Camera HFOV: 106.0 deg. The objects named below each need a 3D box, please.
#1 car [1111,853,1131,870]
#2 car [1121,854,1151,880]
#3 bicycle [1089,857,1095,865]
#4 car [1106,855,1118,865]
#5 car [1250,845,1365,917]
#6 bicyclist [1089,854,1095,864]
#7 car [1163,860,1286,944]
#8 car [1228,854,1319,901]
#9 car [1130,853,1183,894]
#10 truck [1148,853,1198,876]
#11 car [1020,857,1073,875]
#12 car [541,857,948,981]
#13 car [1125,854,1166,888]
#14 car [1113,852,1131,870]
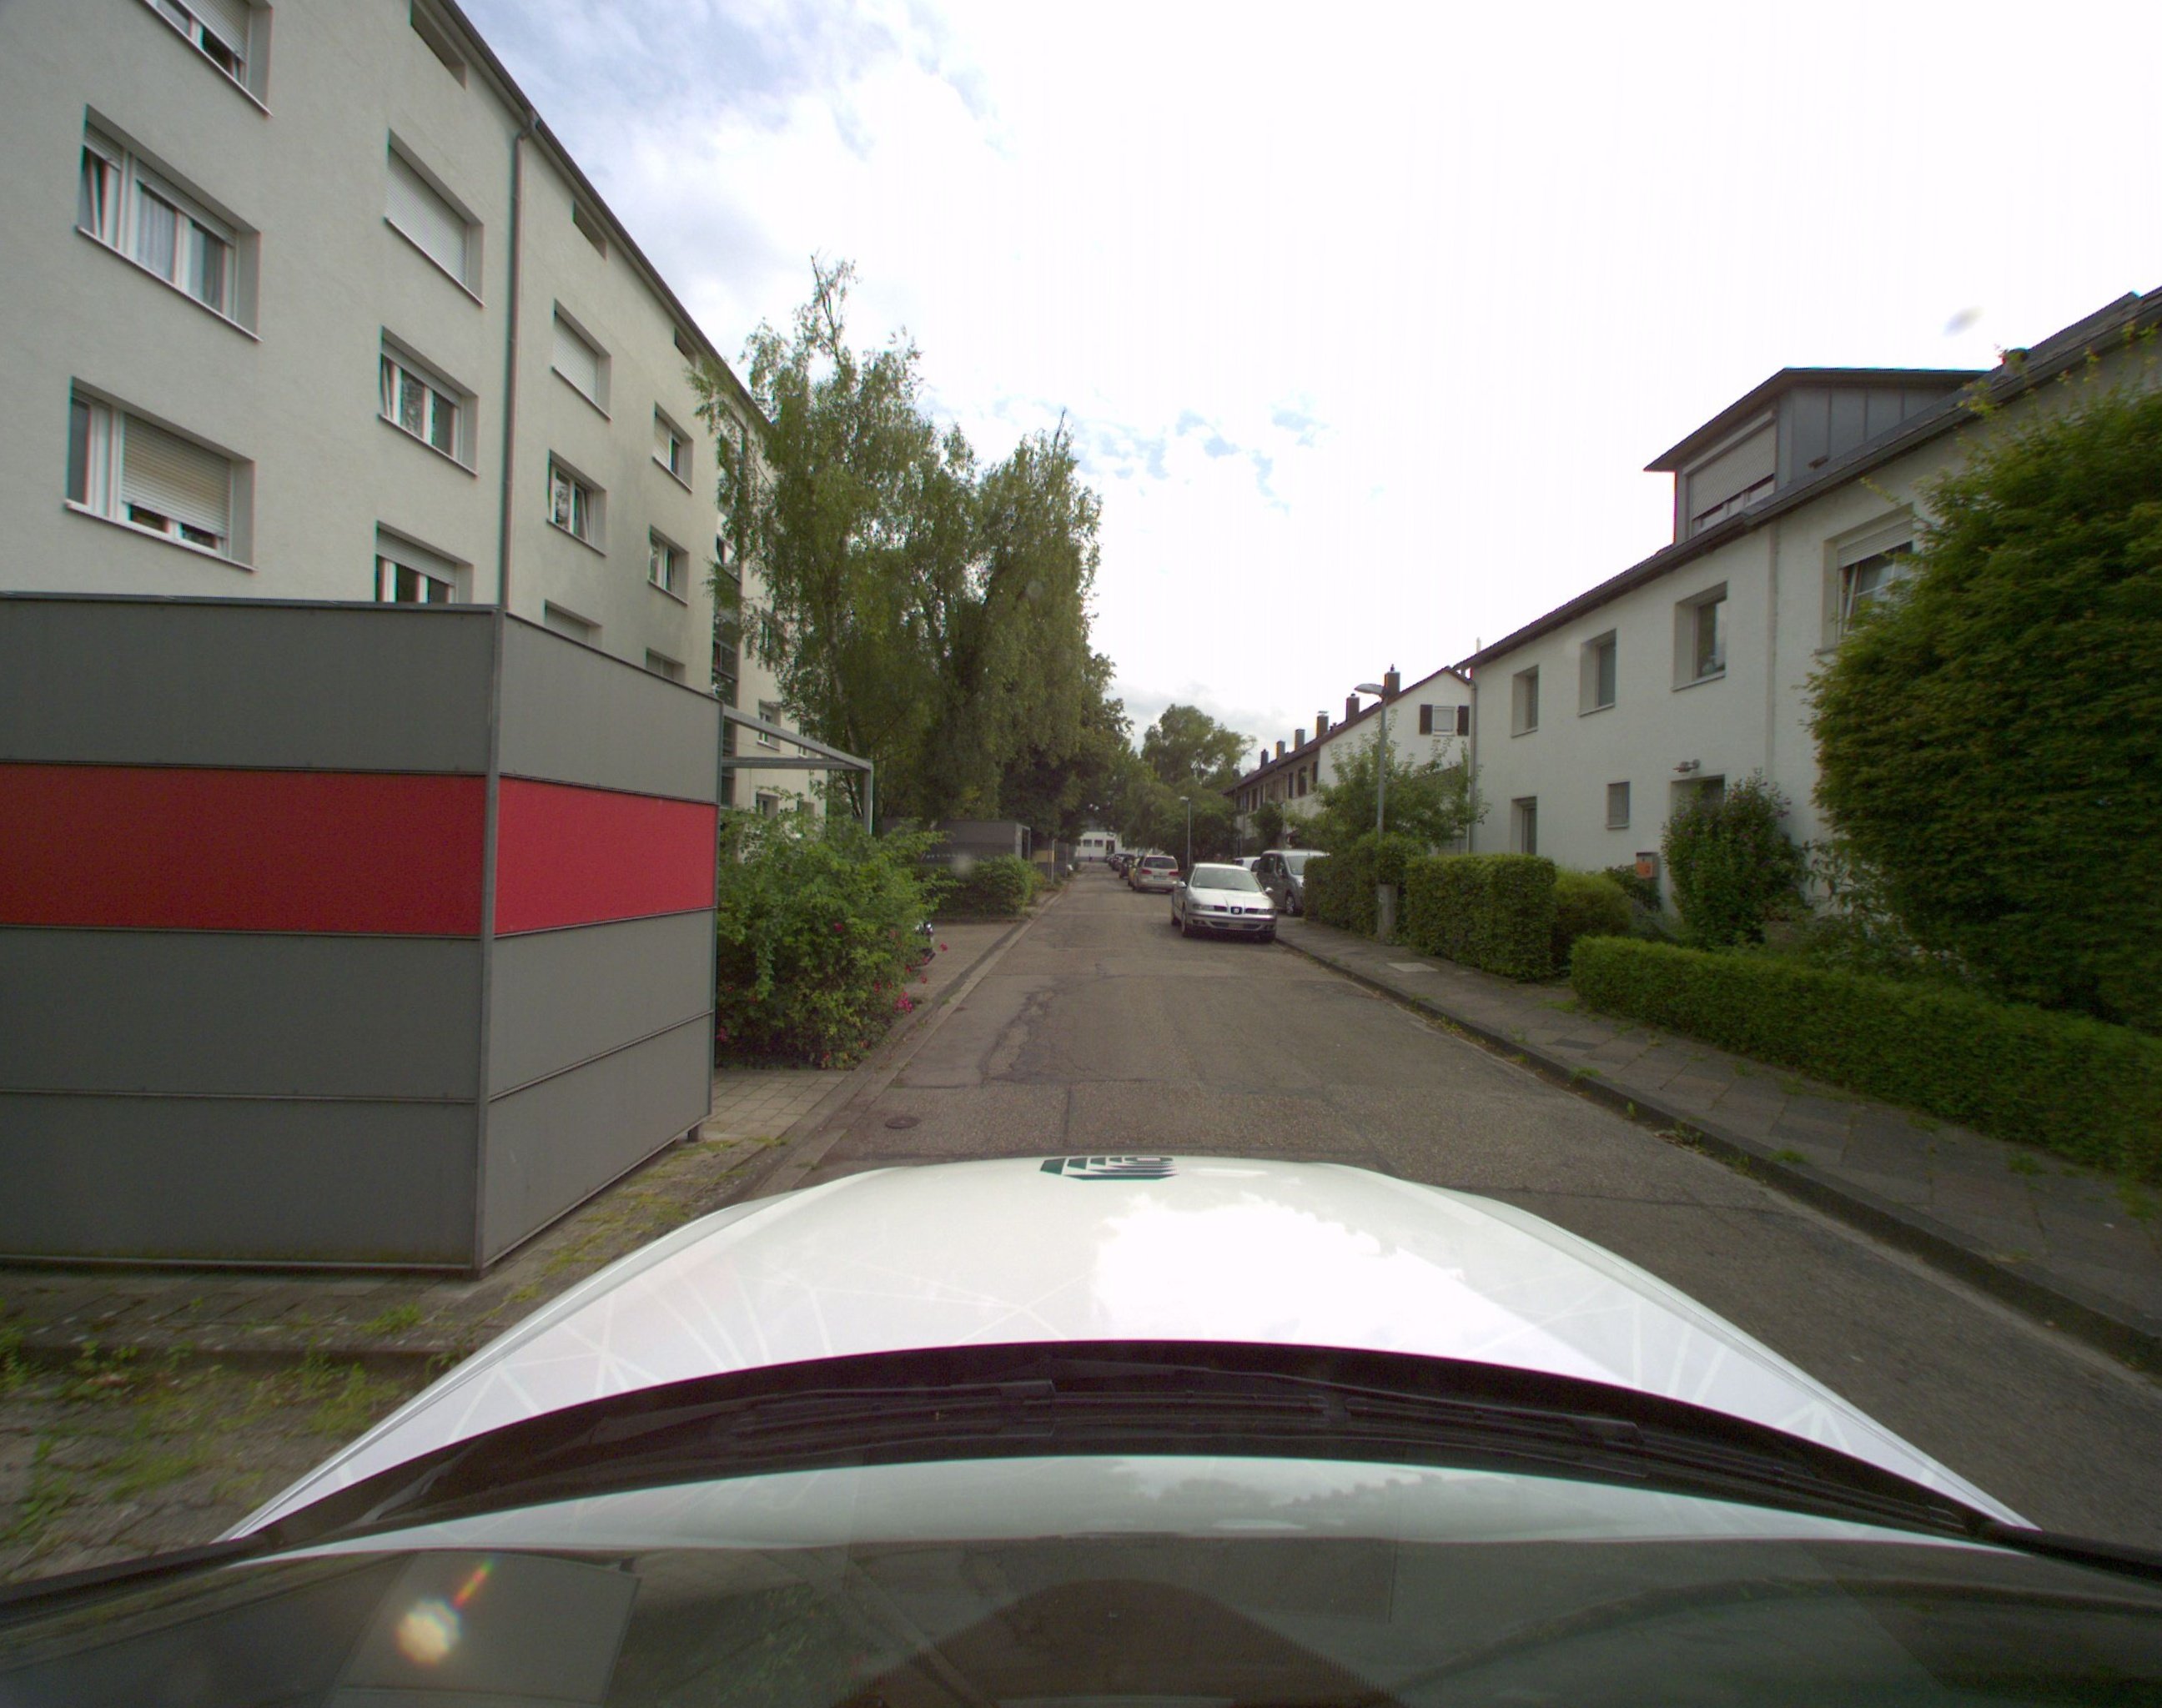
[{"bbox_3d":[3.953,0.721,80.519,1.818,1.581,4.002,3,0,2],"label":"car"},{"bbox_3d":[3.683,0.871,55.486,1.818,1.581,4.194,3,0,2],"label":"car"},{"bbox_3d":[1.641,1.085,120.819,0.686,1.131,2.581,3,0,3],"label":"bicycle"},{"bbox_3d":[5.064,1.010,133.173,1.818,1.581,4.002,3,0,2],"label":"car"},{"bbox_3d":[6.161,0.700,22.677,1.821,1.777,4.336,-1,-1,-3],"label":"car"},{"bbox_3d":[1.591,0.763,120.831,0.795,1.511,0.934,3,-1,3],"label":"bicyclist"},{"bbox_3d":[2.784,0.872,16.707,1.818,1.370,4.332,3,0,2],"label":"car"},{"bbox_3d":[6.805,0.817,28.993,2.809,1.569,1.740,-1,0,-2],"label":"car"},{"bbox_3d":[3.212,0.791,35.293,1.819,1.581,3.999,3,0,0],"label":"car"},{"bbox_3d":[8.281,0.965,73.670,4.375,2.014,2.000,0,-1,0],"label":"truck"},{"bbox_3d":[-2.687,0.943,63.551,4.018,1.394,1.738,0,0,0],"label":"car"},{"bbox_3d":[-3.963,0.765,10.279,4.316,1.376,1.920,1,0,-5],"label":"car"},{"bbox_3d":[3.291,0.851,42.031,1.818,1.581,4.002,3,0,2],"label":"car"},{"bbox_3d":[4.646,0.796,92.271,1.818,1.883,4.002,3,0,2],"label":"car"}]
